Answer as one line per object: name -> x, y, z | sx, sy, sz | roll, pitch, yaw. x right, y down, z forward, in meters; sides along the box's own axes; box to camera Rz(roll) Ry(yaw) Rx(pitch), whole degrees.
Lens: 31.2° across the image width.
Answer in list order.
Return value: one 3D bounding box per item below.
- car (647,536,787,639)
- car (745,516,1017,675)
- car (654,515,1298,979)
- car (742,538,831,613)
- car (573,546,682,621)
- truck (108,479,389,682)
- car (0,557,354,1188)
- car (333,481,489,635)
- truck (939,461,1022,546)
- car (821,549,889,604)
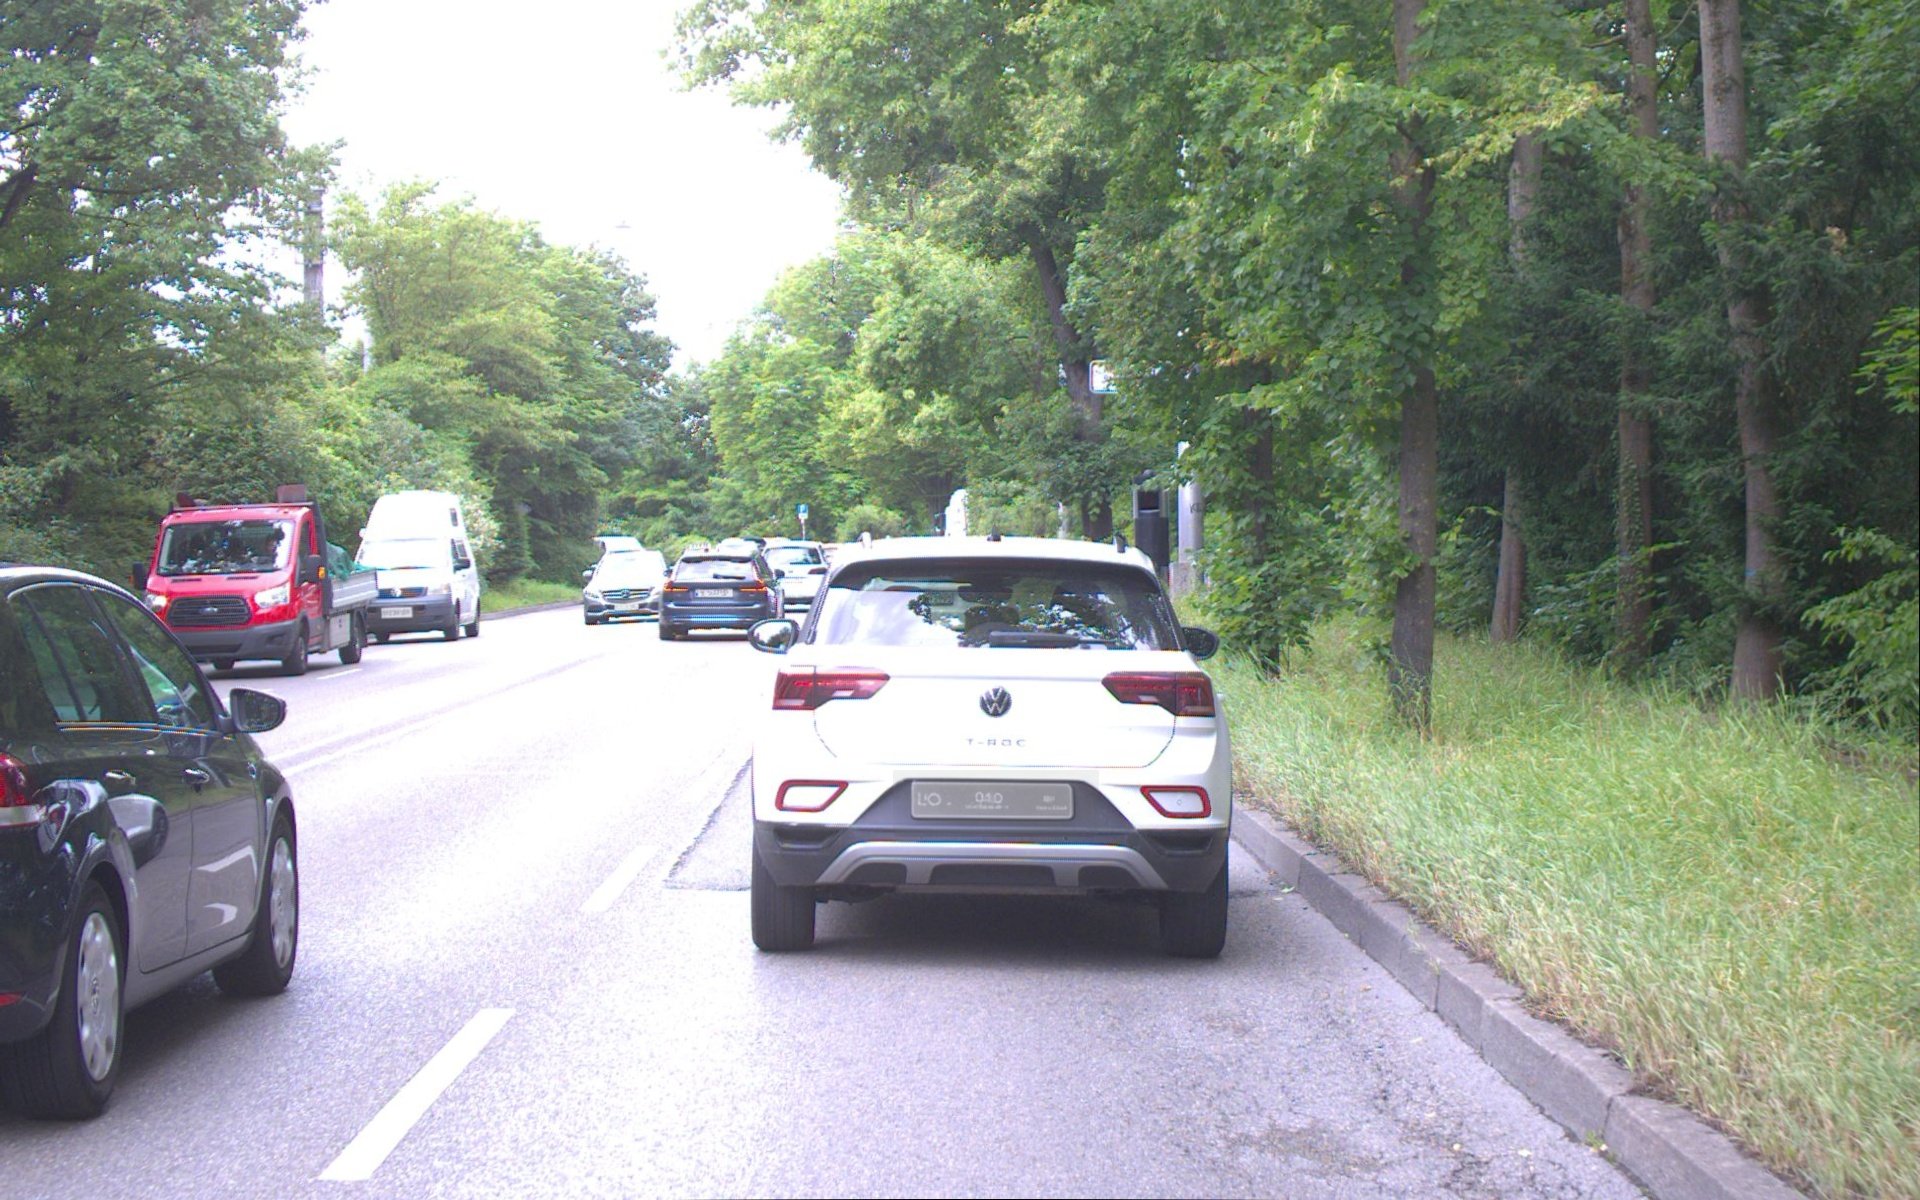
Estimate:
car -> -3.890, -0.216, 55.606 | 1.993, 1.586, 4.000 | 1, 1, -1
car -> -0.998, -0.096, 40.796 | 1.851, 1.697, 4.001 | -4, 2, -22
car -> -0.106, 0.491, 13.894 | 2.000, 1.590, 4.001 | 1, 1, -8
car -> -3.874, -0.550, 77.237 | 1.821, 1.617, 4.000 | 1, 1, -1
car -> -6.808, -0.351, 70.756 | 1.839, 1.460, 4.466 | 1, 1, -1
truck -> -9.314, -0.270, 45.618 | 2.177, 2.403, 6.465 | -3, 0, 1
car -> -3.075, 0.604, 9.991 | 1.949, 1.461, 4.000 | 1, 1, -1
car -> -9.614, -0.736, 60.582 | 1.887, 2.547, 4.915 | 2, 1, 0
truck -> 0.754, -3.765, 135.659 | 2.481, 3.171, 7.230 | 1, 1, -6
car -> -3.215, -0.720, 104.867 | 1.993, 1.620, 4.000 | 1, 1, -3
